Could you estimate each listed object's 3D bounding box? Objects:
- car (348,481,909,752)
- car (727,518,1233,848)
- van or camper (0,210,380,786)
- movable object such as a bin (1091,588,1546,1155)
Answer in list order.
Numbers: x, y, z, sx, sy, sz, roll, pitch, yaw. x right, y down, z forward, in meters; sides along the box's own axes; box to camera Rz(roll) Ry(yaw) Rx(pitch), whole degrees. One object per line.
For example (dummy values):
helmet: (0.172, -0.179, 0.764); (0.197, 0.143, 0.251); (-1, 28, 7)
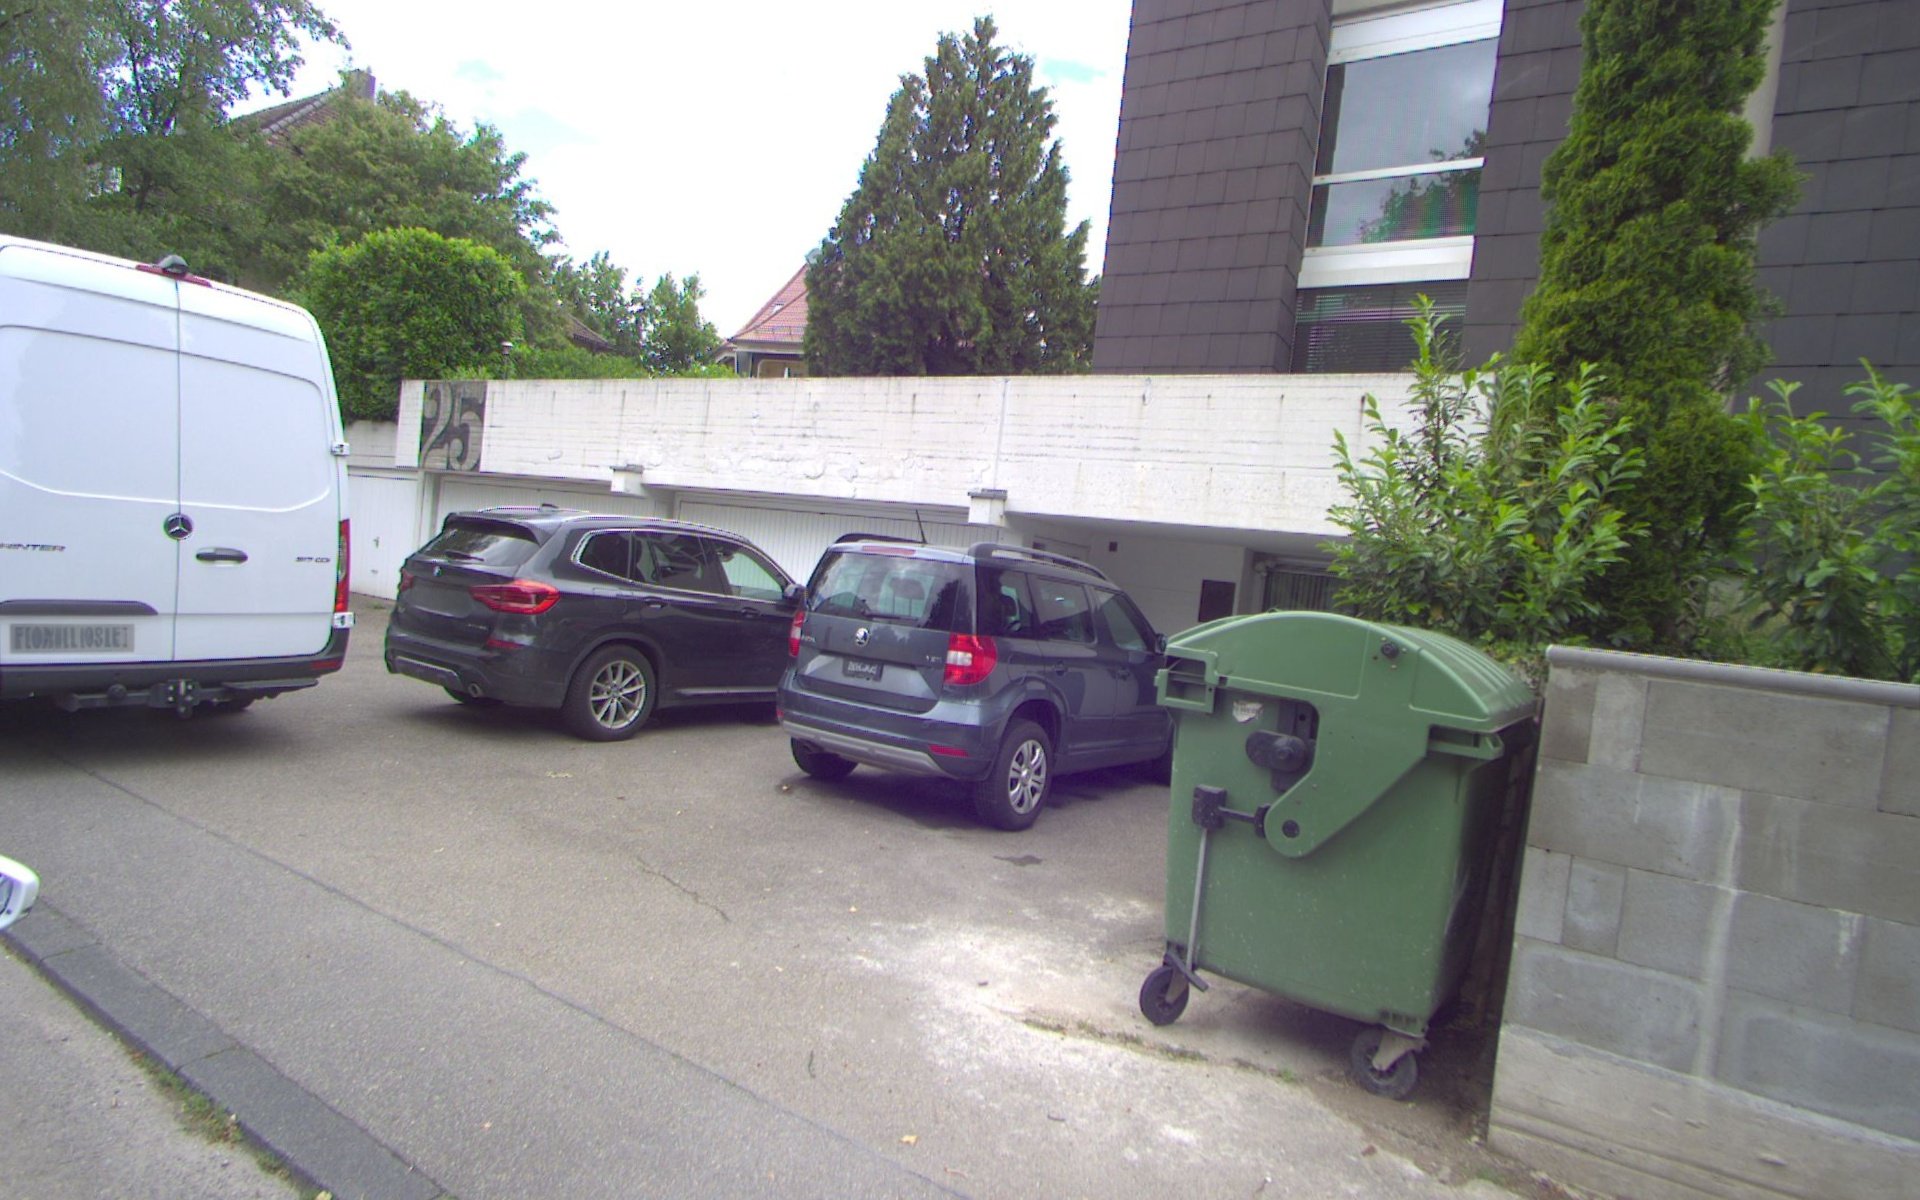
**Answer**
car: (-2.523, 0.139, 8.764); (1.800, 1.674, 4.394); (7, 2, 33)
car: (0.399, 0.494, 7.435); (1.801, 1.674, 3.796); (7, 2, 35)
van or camper: (-6.753, -0.754, 6.892); (6.252, 2.664, 1.963); (7, 4, 31)
movable object such as a bin: (1.334, 0.768, 3.608); (1.161, 1.470, 1.300); (7, 2, 31)
